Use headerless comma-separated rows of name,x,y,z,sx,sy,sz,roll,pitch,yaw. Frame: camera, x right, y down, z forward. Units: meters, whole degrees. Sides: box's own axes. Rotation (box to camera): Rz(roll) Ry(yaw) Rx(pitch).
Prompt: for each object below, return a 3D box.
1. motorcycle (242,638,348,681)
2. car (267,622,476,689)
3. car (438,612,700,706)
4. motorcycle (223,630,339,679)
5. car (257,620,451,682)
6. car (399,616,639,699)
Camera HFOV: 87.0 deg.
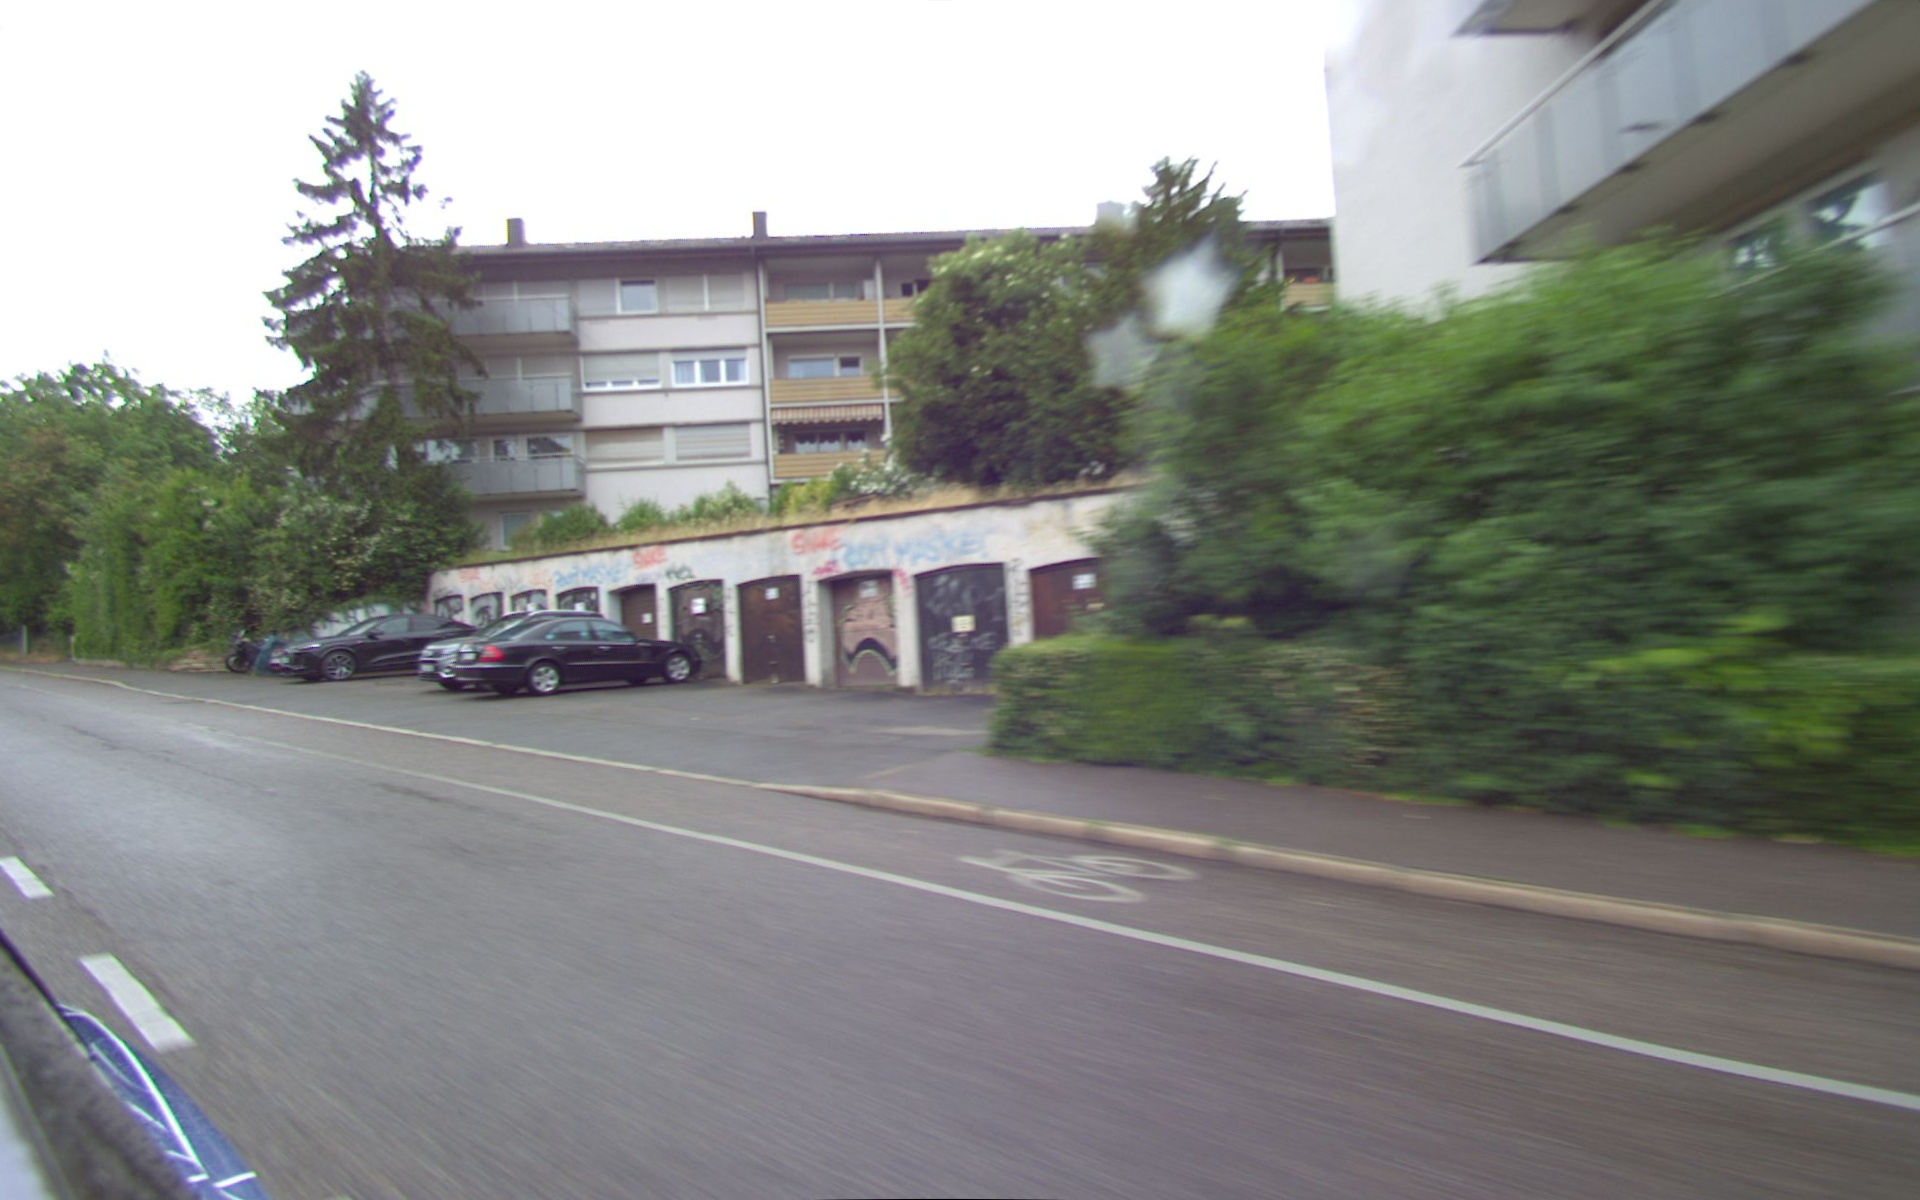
motorcycle,-18.790,1.659,28.650,2.425,1.117,0.661,0,-1,-43
car,-15.203,1.377,26.330,1.774,1.539,4.382,-2,-1,41
car,-7.541,1.053,19.872,1.847,1.501,4.438,-1,0,42
motorcycle,-20.032,1.592,29.916,2.764,1.282,1.282,-1,0,-34
car,-16.980,1.390,28.536,1.774,1.539,4.382,-2,-1,41
car,-9.242,1.148,21.534,1.772,1.539,4.386,-2,-1,38
